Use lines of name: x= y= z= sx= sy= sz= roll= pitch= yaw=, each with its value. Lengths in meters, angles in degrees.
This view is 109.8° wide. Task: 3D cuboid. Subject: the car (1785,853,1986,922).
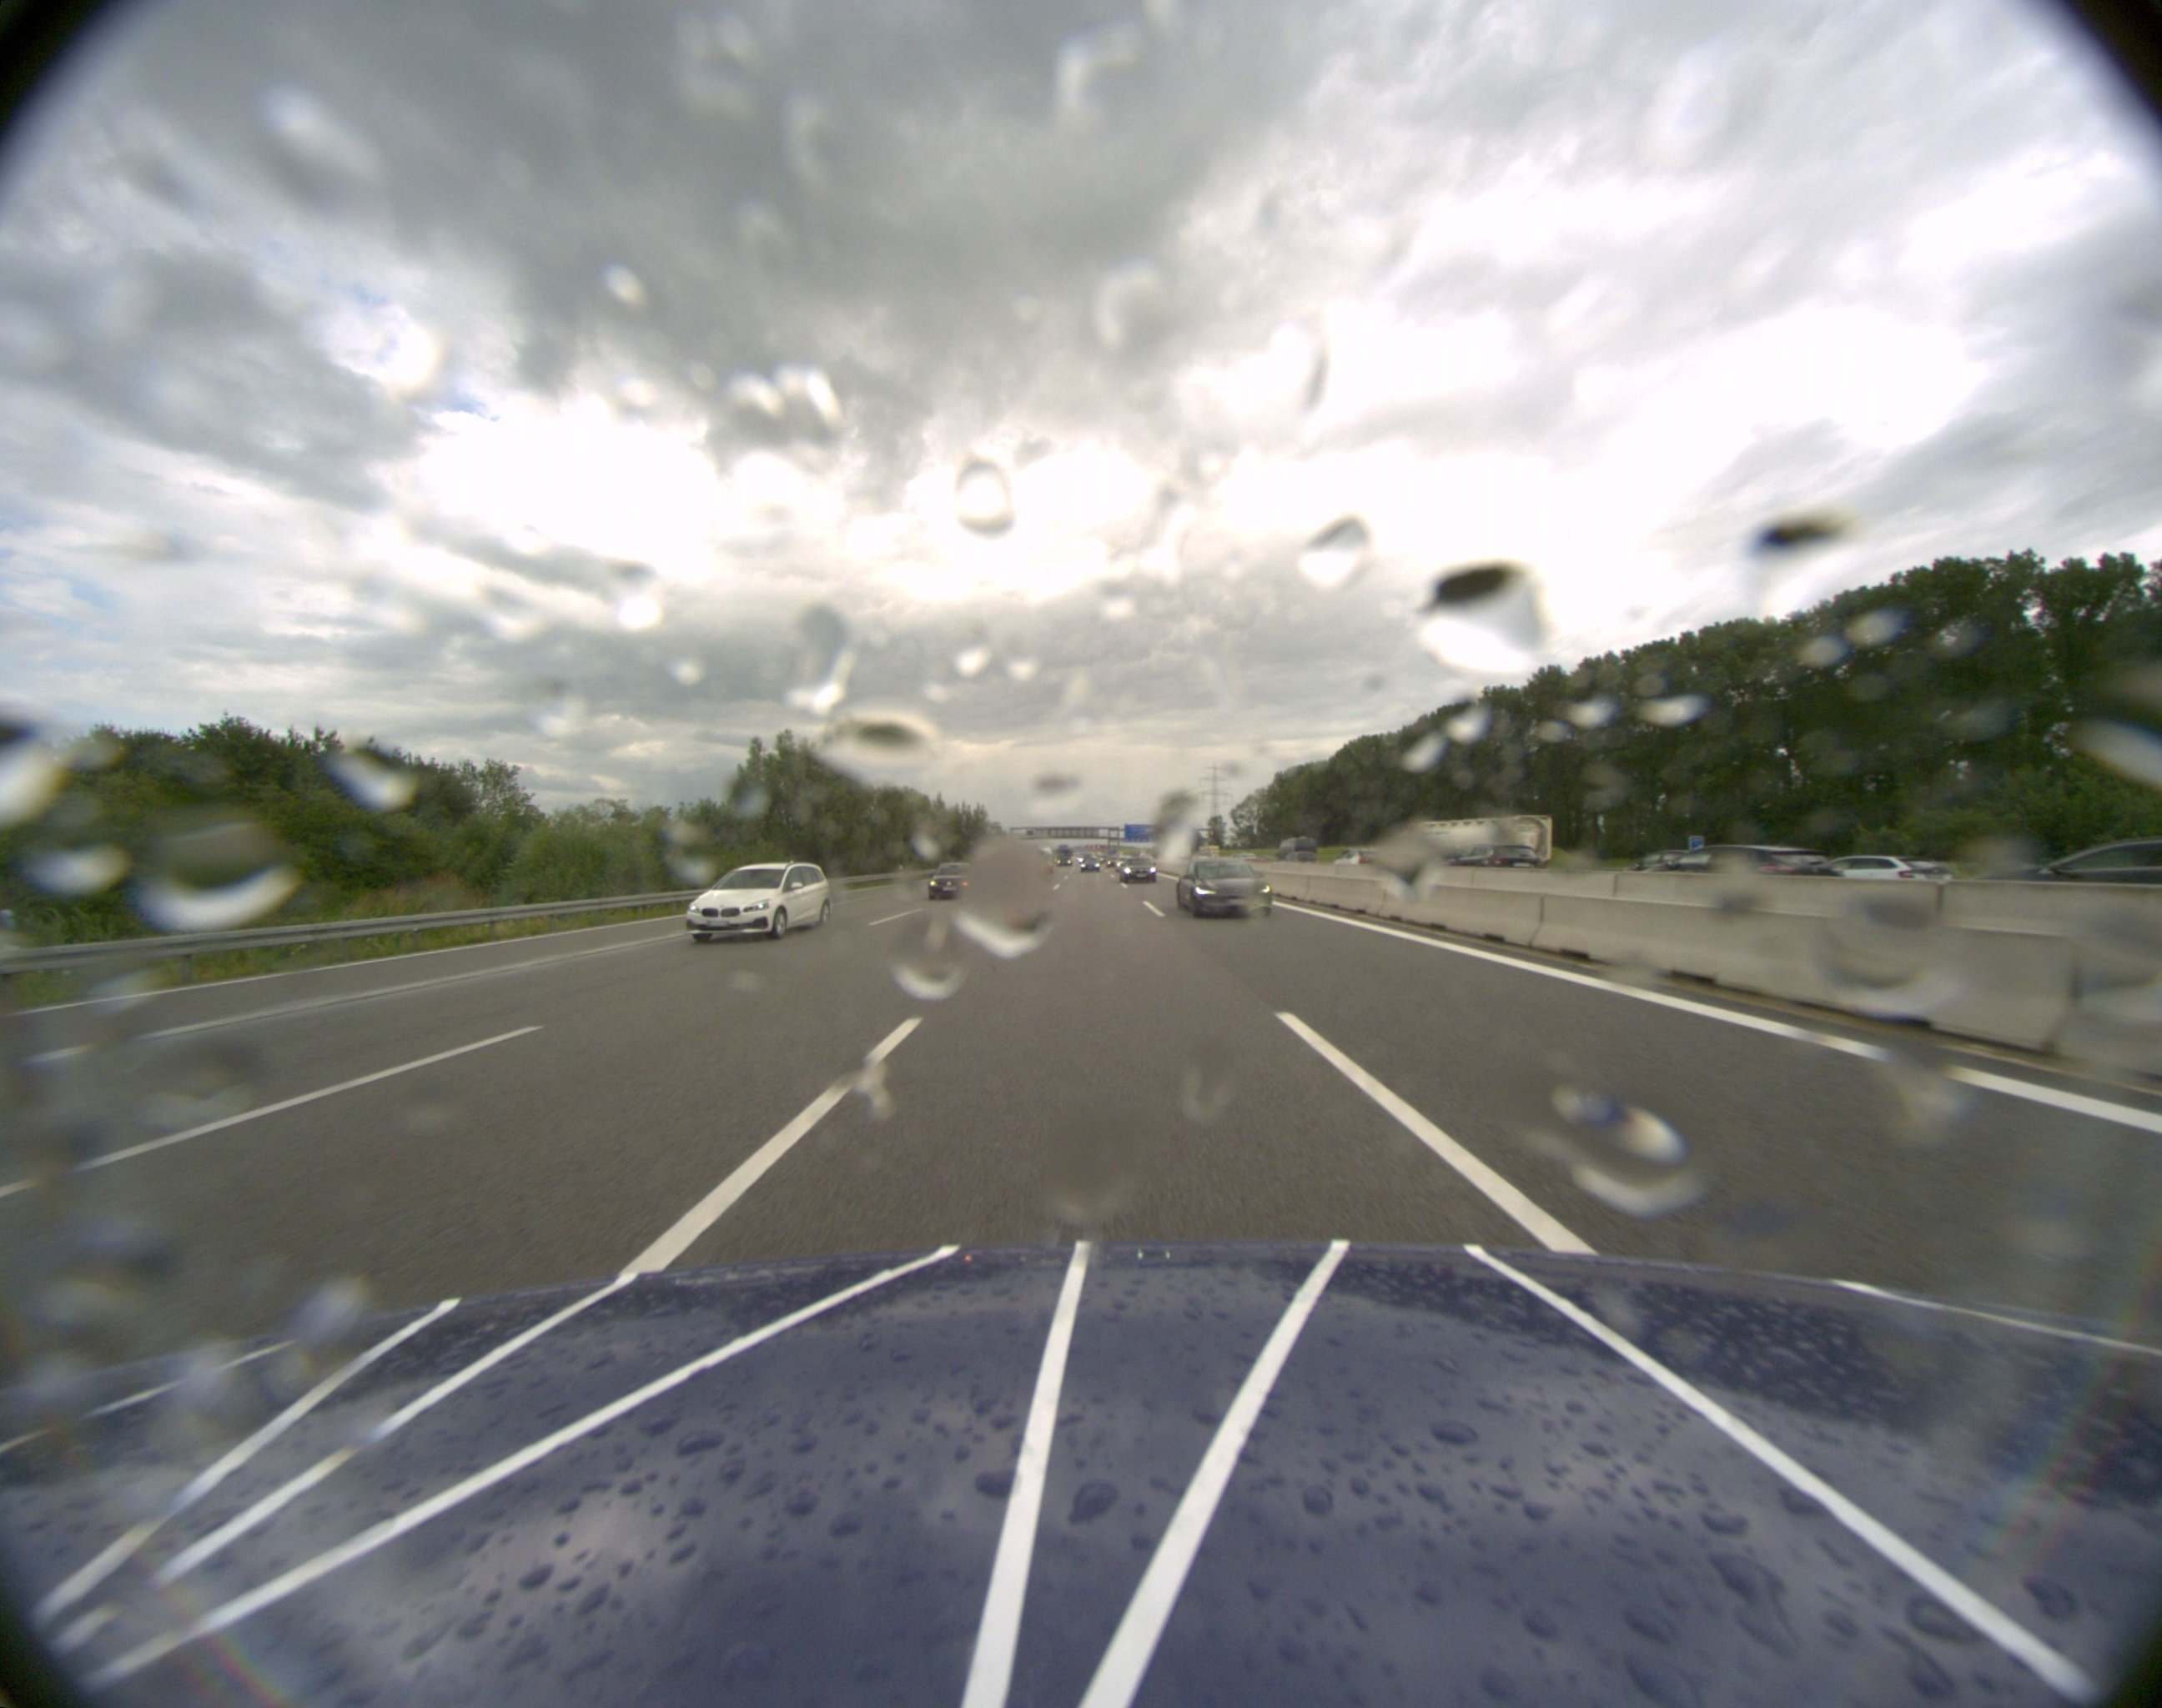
car: x=26.290 y=1.005 z=25.114 sx=1.998 sy=2.002 sz=4.425 roll=-2 pitch=0 yaw=1

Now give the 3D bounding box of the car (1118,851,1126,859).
car: x=14.399 y=0.333 z=267.287 sx=1.999 sy=2.601 sz=6.341 roll=-2 pitch=0 yaw=-1

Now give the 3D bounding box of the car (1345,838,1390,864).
car: x=22.540 y=-0.229 z=59.907 sx=1.998 sy=1.936 sz=4.212 roll=-2 pitch=0 yaw=1

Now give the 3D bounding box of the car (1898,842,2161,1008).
car: x=13.985 y=0.847 z=9.738 sx=1.998 sy=1.956 sz=4.696 roll=-2 pitch=0 yaw=1

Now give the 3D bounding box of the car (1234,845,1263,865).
car: x=15.104 y=0.088 z=68.798 sx=1.808 sy=1.709 sz=4.000 roll=-2 pitch=0 yaw=1

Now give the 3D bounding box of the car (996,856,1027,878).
car: x=-5.153 y=0.906 z=56.767 sx=1.945 sy=1.482 sz=4.775 roll=-2 pitch=0 yaw=-1

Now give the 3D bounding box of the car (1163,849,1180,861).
car: x=15.415 y=0.141 z=129.631 sx=1.999 sy=2.002 sz=5.181 roll=-2 pitch=0 yaw=-1

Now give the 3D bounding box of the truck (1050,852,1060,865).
truck: x=-5.668 y=0.929 z=166.621 sx=1.790 sy=2.660 sz=5.768 roll=-2 pitch=0 yaw=0

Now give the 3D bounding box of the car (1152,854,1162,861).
car: x=19.676 y=0.877 z=195.941 sx=1.999 sy=1.922 sz=4.638 roll=-2 pitch=0 yaw=0

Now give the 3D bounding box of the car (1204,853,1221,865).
car: x=22.359 y=0.800 z=129.350 sx=1.999 sy=2.002 sz=4.808 roll=-2 pitch=0 yaw=-1

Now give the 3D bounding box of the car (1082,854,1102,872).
car: x=1.034 y=0.783 z=71.496 sx=1.711 sy=1.562 sz=4.347 roll=-2 pitch=0 yaw=3

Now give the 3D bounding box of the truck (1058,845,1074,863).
truck: x=-2.519 y=-0.033 z=124.914 sx=2.391 sy=2.726 sz=6.592 roll=-2 pitch=0 yaw=-2

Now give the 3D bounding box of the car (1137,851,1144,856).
car: x=19.369 y=-0.134 z=246.250 sx=1.890 sy=1.610 sz=3.999 roll=-2 pitch=0 yaw=-1

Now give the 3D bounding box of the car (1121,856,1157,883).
car: x=3.220 y=0.824 z=42.929 sx=1.922 sy=1.407 sz=4.001 roll=-1 pitch=0 yaw=3

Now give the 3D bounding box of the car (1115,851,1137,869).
car: x=4.206 y=0.570 z=71.661 sx=1.822 sy=1.565 sz=4.000 roll=-2 pitch=0 yaw=0

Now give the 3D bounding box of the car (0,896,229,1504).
car: x=-3.821 y=0.981 z=0.274 sx=1.785 sy=1.603 sz=4.597 roll=-2 pitch=0 yaw=0

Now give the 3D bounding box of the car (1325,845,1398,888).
car: x=14.148 y=0.589 z=38.624 sx=1.998 sy=1.956 sz=4.696 roll=-2 pitch=0 yaw=1

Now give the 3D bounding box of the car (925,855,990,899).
car: x=-5.025 y=0.900 z=31.407 sx=1.711 sy=1.621 sz=4.457 roll=-2 pitch=0 yaw=3

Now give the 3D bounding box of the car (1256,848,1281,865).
car: x=23.539 y=0.319 z=95.507 sx=1.998 sy=2.002 sz=4.227 roll=-2 pitch=0 yaw=1

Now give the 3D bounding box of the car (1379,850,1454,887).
car: x=18.652 y=0.736 z=42.486 sx=1.998 sy=1.892 sz=4.930 roll=-2 pitch=0 yaw=0

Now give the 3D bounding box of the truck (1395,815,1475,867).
truck: x=26.656 y=-0.942 z=57.553 sx=3.158 sy=3.690 sz=6.318 roll=-2 pitch=0 yaw=1

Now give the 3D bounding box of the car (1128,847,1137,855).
car: x=13.975 y=-0.778 z=206.024 sx=1.999 sy=1.886 sz=5.186 roll=-2 pitch=0 yaw=0

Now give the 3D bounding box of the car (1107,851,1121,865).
car: x=4.311 y=0.489 z=97.974 sx=1.711 sy=1.621 sz=4.000 roll=-2 pitch=0 yaw=3

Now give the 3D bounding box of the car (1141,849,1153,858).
car: x=14.308 y=-0.137 z=164.841 sx=1.998 sy=2.002 sz=4.763 roll=-2 pitch=0 yaw=0

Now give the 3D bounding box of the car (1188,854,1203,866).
car: x=19.654 y=1.036 z=130.175 sx=1.809 sy=2.002 sz=3.999 roll=-2 pitch=0 yaw=-1

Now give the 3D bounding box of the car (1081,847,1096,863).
car: x=1.224 y=0.145 z=123.543 sx=2.145 sy=2.486 sz=5.448 roll=-2 pitch=0 yaw=2

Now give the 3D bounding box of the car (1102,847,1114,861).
car: x=5.128 y=-0.030 z=143.621 sx=2.145 sy=2.486 sz=5.448 roll=-2 pitch=0 yaw=3

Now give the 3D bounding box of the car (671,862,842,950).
car: x=-7.106 y=1.045 z=17.252 sx=1.815 sy=1.589 sz=4.695 roll=-2 pitch=0 yaw=0

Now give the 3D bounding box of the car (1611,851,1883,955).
car: x=14.501 y=0.945 z=17.016 sx=1.998 sy=1.956 sz=4.696 roll=-2 pitch=0 yaw=1

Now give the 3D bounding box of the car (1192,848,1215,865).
car: x=14.841 y=0.252 z=92.393 sx=1.998 sy=2.002 sz=4.264 roll=-2 pitch=0 yaw=0

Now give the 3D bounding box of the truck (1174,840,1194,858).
truck: x=26.707 y=-1.297 z=197.414 sx=3.156 sy=4.288 sz=13.950 roll=-2 pitch=0 yaw=0

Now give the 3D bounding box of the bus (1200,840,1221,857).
bus: x=26.700 y=-1.156 z=156.949 sx=2.838 sy=3.313 sz=9.963 roll=-2 pitch=0 yaw=1

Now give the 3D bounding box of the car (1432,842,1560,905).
car: x=14.432 y=0.612 z=26.803 sx=1.998 sy=1.956 sz=4.696 roll=-2 pitch=0 yaw=1

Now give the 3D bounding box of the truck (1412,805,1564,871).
truck: x=26.567 y=-0.941 z=50.846 sx=3.156 sy=3.723 sz=13.298 roll=-2 pitch=0 yaw=1

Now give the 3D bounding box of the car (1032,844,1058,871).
car: x=-3.496 y=0.289 z=74.523 sx=2.145 sy=2.486 sz=5.448 roll=-2 pitch=0 yaw=1

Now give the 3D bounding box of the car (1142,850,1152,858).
car: x=15.850 y=-0.040 z=183.045 sx=1.998 sy=1.842 sz=5.077 roll=-1 pitch=0 yaw=0

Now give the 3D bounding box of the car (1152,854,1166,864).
car: x=14.744 y=0.883 z=143.112 sx=1.999 sy=1.844 sz=4.635 roll=-2 pitch=0 yaw=-2

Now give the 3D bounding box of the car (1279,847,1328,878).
car: x=15.196 y=0.548 z=52.082 sx=1.998 sy=1.956 sz=4.696 roll=-2 pitch=0 yaw=1

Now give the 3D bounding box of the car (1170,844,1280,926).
car: x=3.579 y=0.698 z=19.855 sx=1.998 sy=1.810 sz=5.163 roll=-2 pitch=0 yaw=2

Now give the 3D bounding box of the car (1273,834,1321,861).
car: x=18.675 y=-0.529 z=66.109 sx=2.265 sy=2.152 sz=6.817 roll=-2 pitch=0 yaw=1
